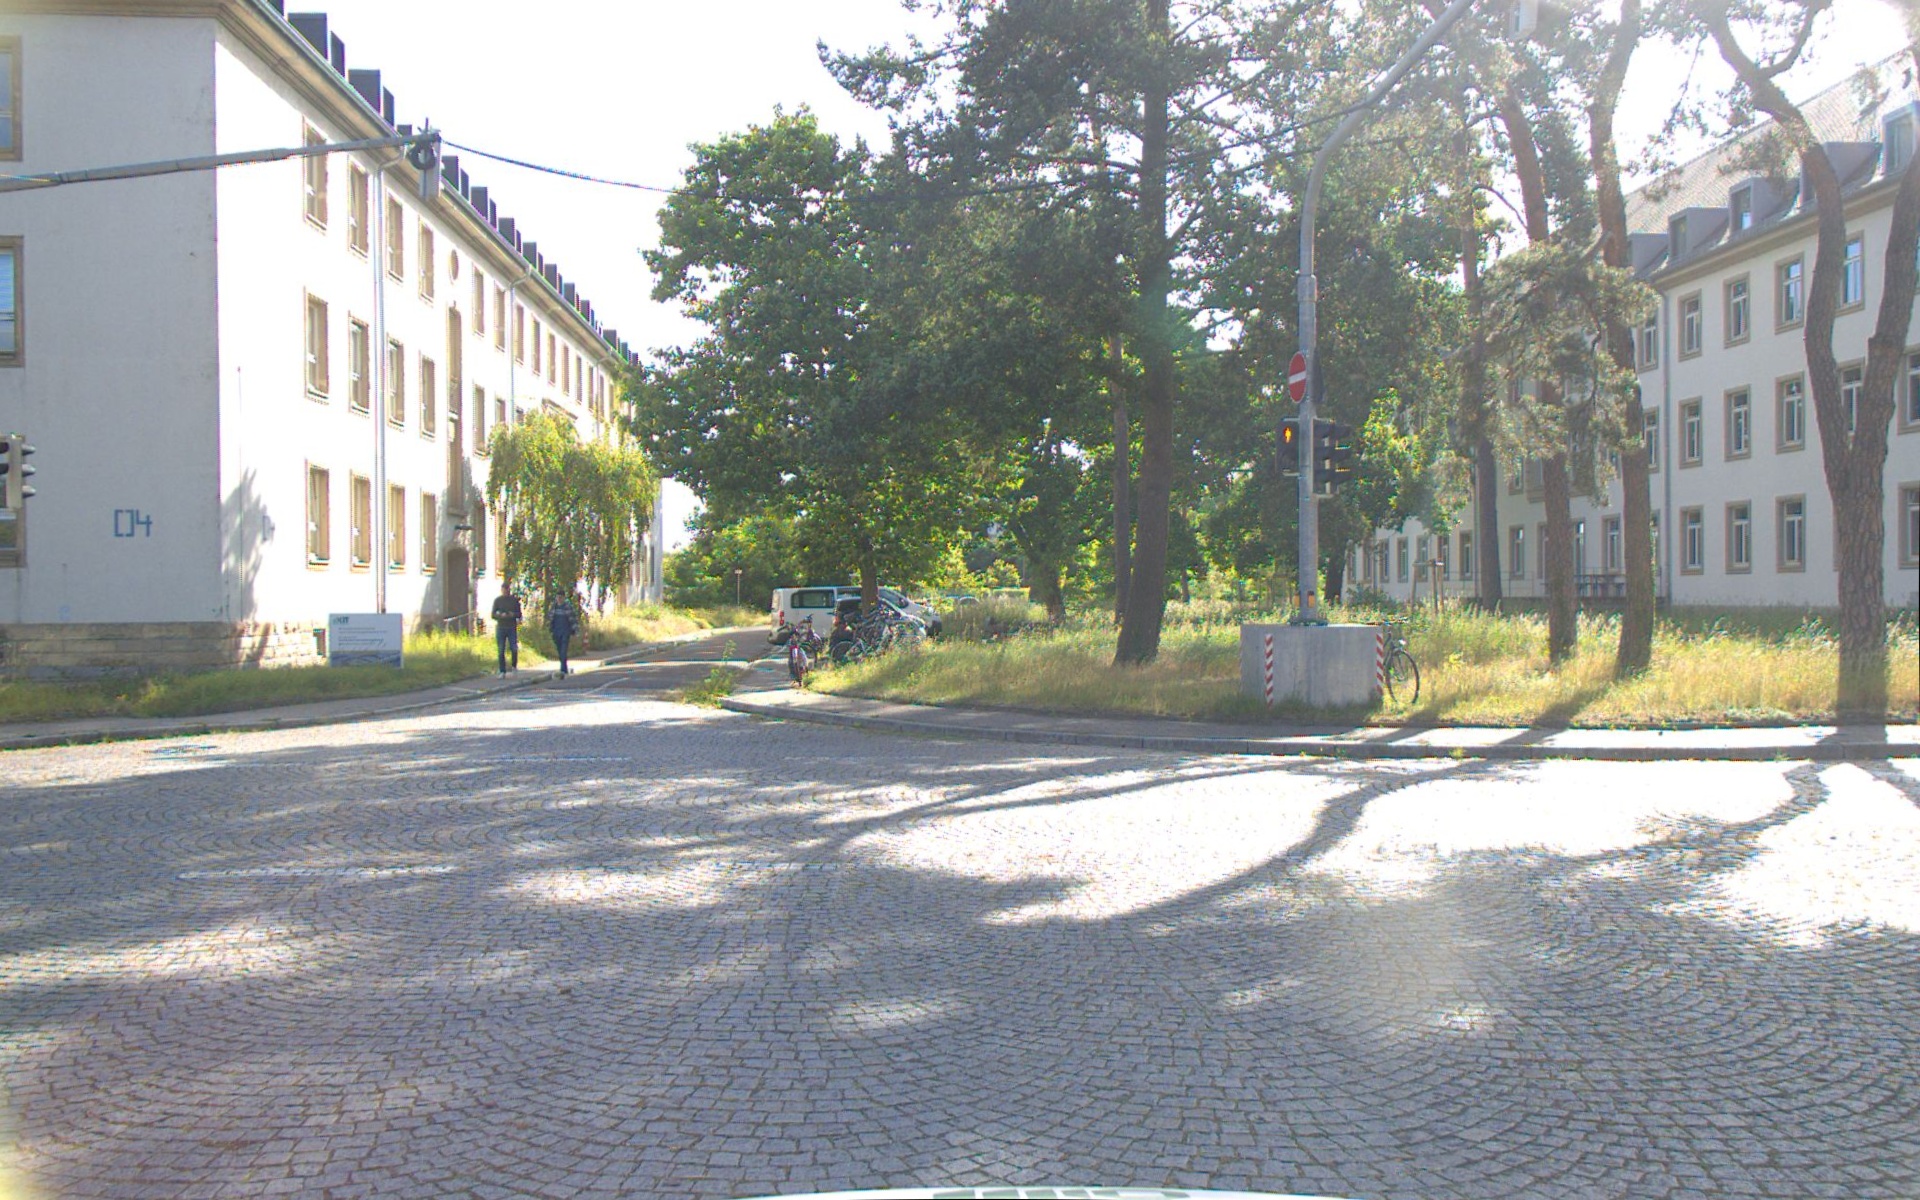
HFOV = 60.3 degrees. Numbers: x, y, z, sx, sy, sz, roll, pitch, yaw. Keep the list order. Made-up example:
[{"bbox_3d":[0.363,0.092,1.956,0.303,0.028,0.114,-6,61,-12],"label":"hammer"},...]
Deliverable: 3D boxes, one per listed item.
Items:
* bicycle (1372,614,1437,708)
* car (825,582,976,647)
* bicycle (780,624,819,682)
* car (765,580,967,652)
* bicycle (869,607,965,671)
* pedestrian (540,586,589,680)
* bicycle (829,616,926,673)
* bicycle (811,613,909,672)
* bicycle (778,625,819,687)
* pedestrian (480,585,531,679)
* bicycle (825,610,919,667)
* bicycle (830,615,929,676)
[{"bbox_3d":[5.374,0.716,20.027,0.456,1.099,1.173,-1,-1,0],"label":"bicycle"},{"bbox_3d":[-1.670,0.394,45.485,3.916,1.713,1.842,0,0,-12],"label":"car"},{"bbox_3d":[-2.923,0.948,30.093,0.682,0.988,1.858,0,0,-6],"label":"bicycle"},{"bbox_3d":[-2.877,0.459,49.744,5.824,2.049,2.469,0,0,-11],"label":"car"},{"bbox_3d":[-0.866,0.772,33.263,1.904,1.257,0.484,0,0,-7],"label":"bicycle"},{"bbox_3d":[-7.835,0.652,32.792,0.751,1.849,0.683,-1,0,7],"label":"pedestrian"},{"bbox_3d":[-1.587,0.849,31.718,1.819,1.049,0.749,0,0,-7],"label":"bicycle"},{"bbox_3d":[-2.024,0.848,33.702,1.921,1.149,0.641,0,0,-31],"label":"bicycle"},{"bbox_3d":[-2.745,0.940,28.156,0.682,0.988,1.858,0,0,-6],"label":"bicycle"},{"bbox_3d":[-9.037,0.637,32.898,0.794,1.849,0.555,-1,0,7],"label":"pedestrian"},{"bbox_3d":[-1.854,0.800,34.815,1.905,1.149,0.646,0,0,-9],"label":"bicycle"},{"bbox_3d":[-1.587,0.892,32.519,1.904,1.149,0.749,0,0,-7],"label":"bicycle"}]
